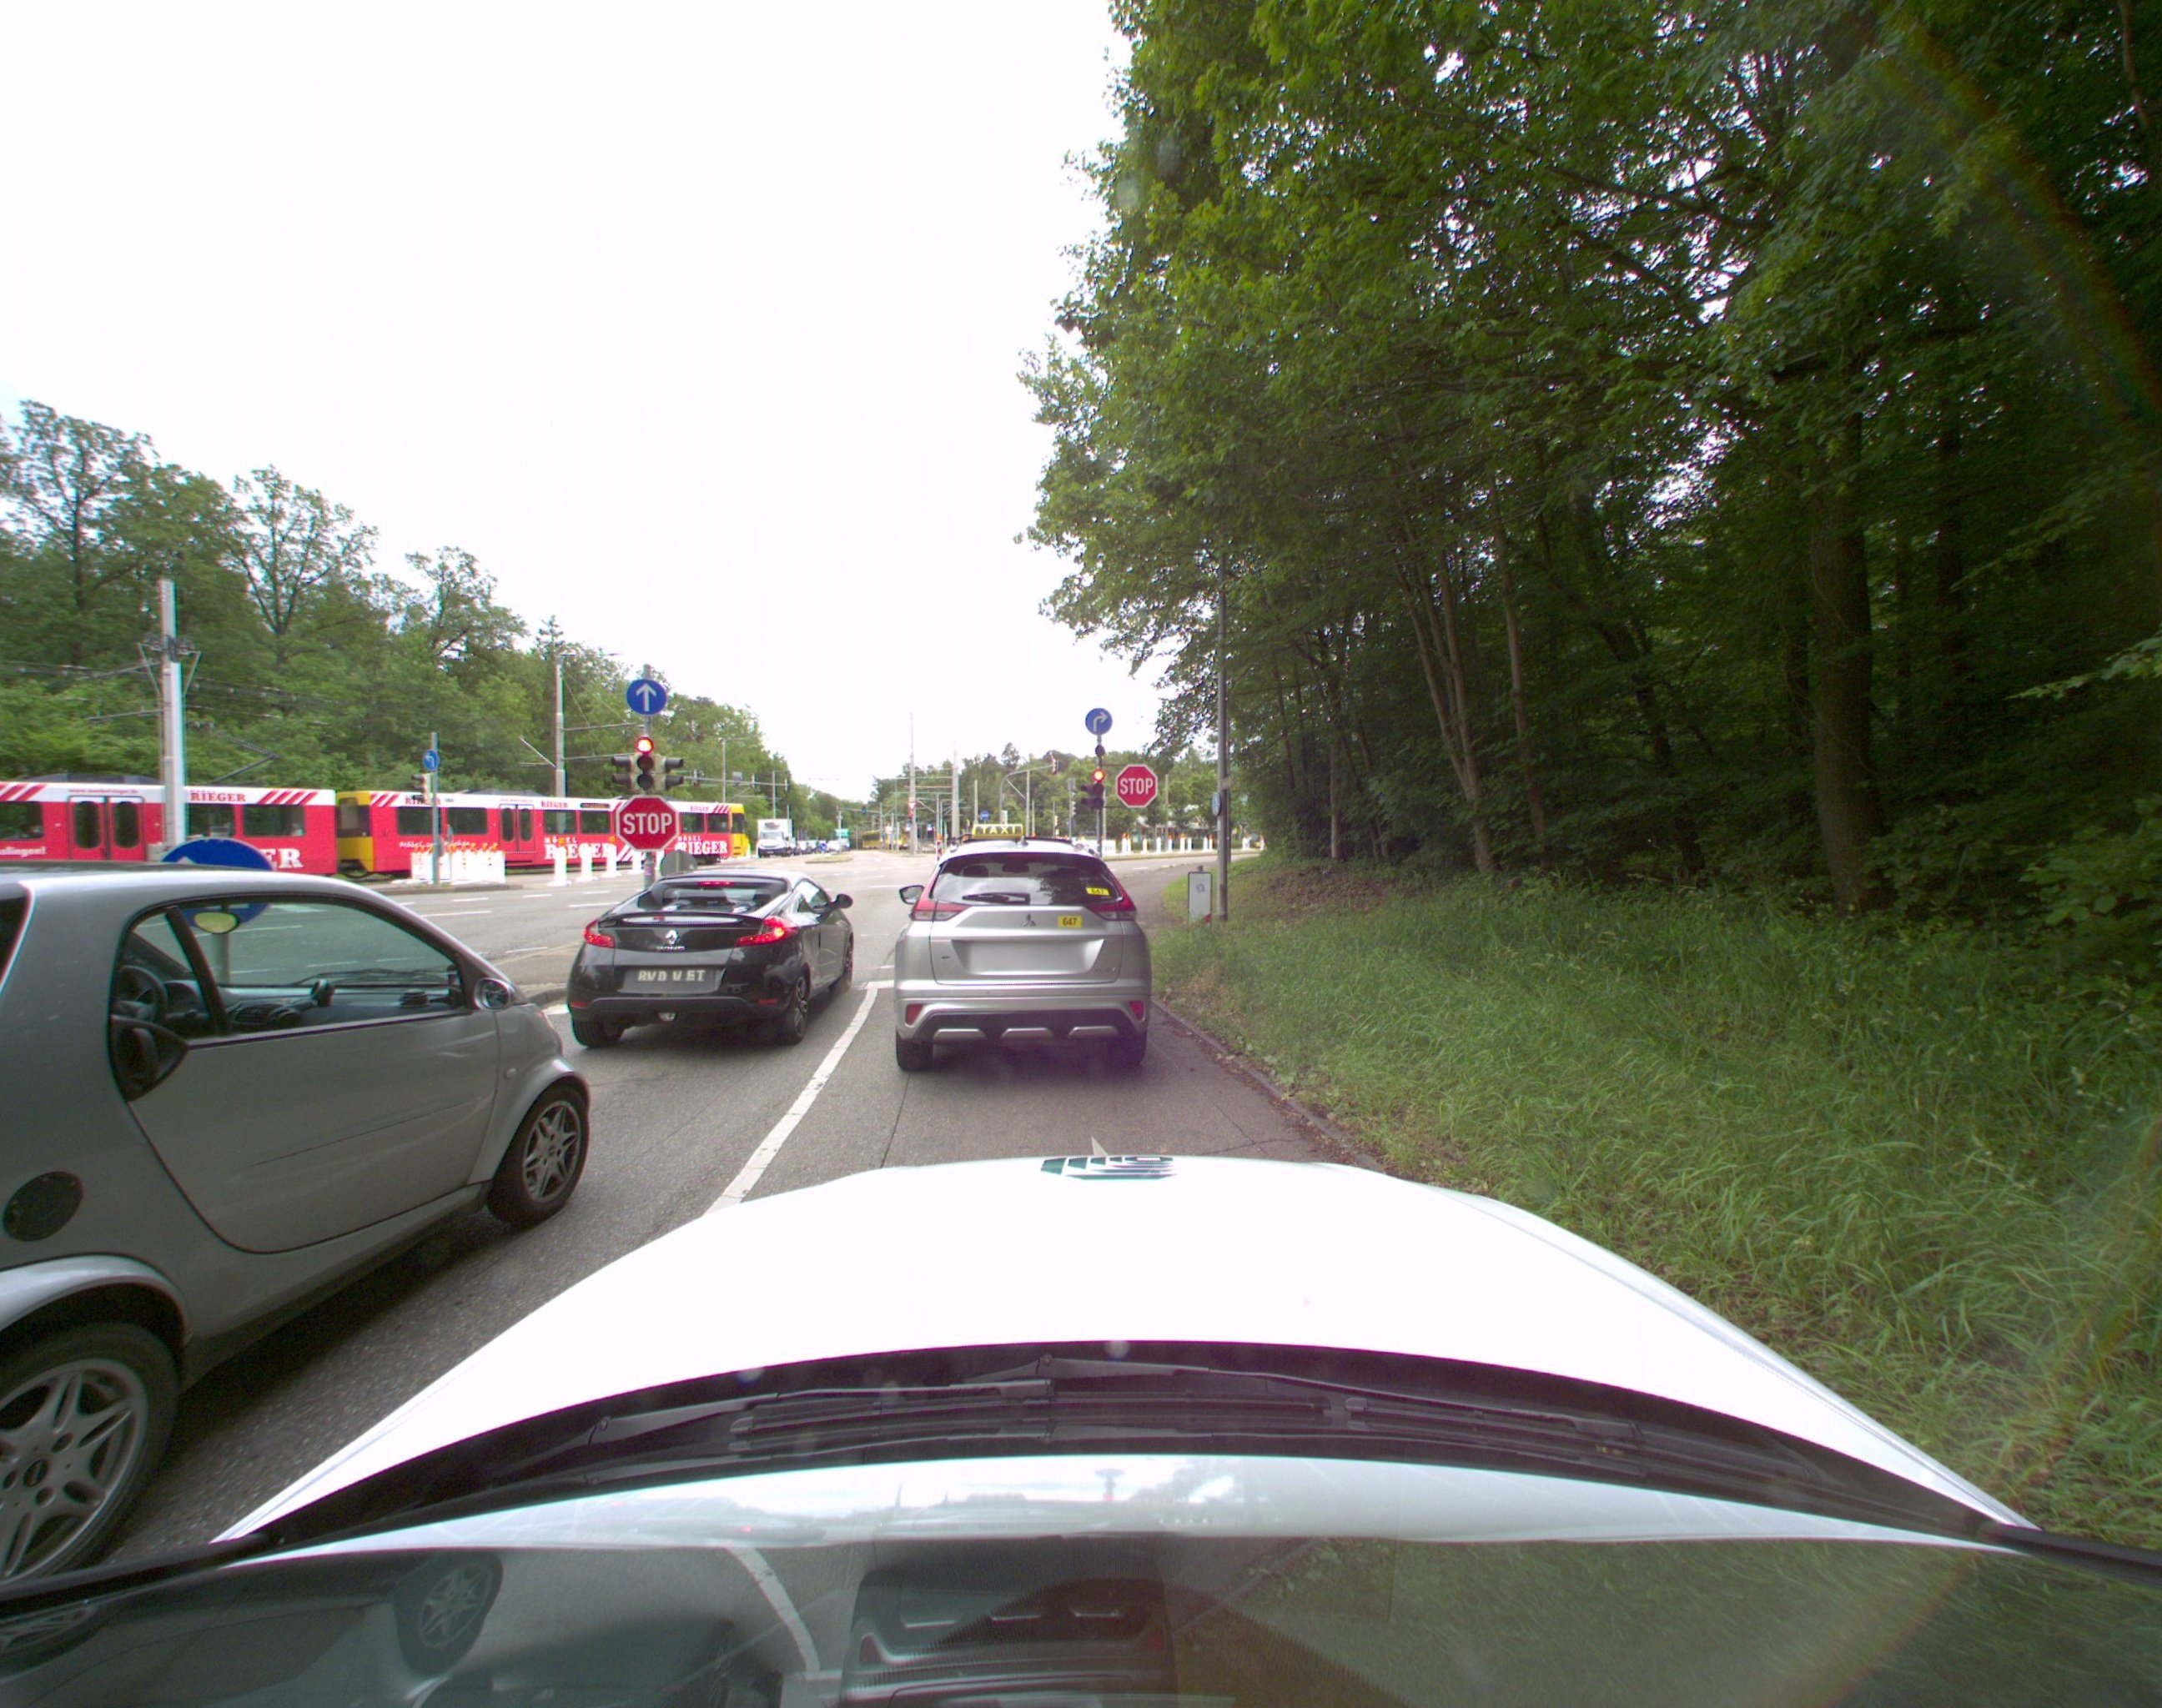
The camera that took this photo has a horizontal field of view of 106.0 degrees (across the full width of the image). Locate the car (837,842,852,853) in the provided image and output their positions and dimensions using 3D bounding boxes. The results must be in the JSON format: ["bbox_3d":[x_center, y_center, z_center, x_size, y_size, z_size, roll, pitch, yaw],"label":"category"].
[{"bbox_3d":[-35.180,-0.985,121.137,1.964,1.540,4.291,-1,1,-13],"label":"car"}]

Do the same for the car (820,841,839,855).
[{"bbox_3d":[-31.631,-0.792,102.391,1.964,1.607,4.291,-1,1,-13],"label":"car"}]

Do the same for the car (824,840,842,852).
[{"bbox_3d":[-32.851,-1.095,107.843,1.964,1.541,4.376,-1,1,-13],"label":"car"}]

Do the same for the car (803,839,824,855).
[{"bbox_3d":[-31.314,-0.823,95.486,1.964,1.844,4.669,-1,1,-13],"label":"car"}]

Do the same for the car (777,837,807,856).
[{"bbox_3d":[-27.782,-0.708,78.436,1.963,1.749,4.827,-1,1,-11],"label":"car"}]

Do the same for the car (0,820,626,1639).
[{"bbox_3d":[-2.916,0.727,2.634,1.455,1.586,2.724,-1,1,-4],"label":"car"}]

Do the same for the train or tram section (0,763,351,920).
[{"bbox_3d":[-32.476,-0.343,22.069,2.927,4.418,18.847,-1,-1,31],"label":"train or tram section"}]

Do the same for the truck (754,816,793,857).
[{"bbox_3d":[-25.562,-1.415,67.920,2.454,3.224,7.116,-2,1,-16],"label":"truck"}]

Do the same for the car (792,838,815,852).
[{"bbox_3d":[-29.891,-0.993,87.848,1.964,1.361,4.669,-1,1,-13],"label":"car"}]

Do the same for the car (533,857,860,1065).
[{"bbox_3d":[-3.194,0.756,7.568,1.773,1.361,3.466,-1,1,-9],"label":"car"}]

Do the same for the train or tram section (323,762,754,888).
[{"bbox_3d":[-23.866,-1.016,39.025,2.921,4.650,18.646,-1,-1,23],"label":"train or tram section"}]

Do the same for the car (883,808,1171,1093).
[{"bbox_3d":[-0.526,0.581,6.969,1.772,1.748,3.772,1,1,-7],"label":"car"}]
